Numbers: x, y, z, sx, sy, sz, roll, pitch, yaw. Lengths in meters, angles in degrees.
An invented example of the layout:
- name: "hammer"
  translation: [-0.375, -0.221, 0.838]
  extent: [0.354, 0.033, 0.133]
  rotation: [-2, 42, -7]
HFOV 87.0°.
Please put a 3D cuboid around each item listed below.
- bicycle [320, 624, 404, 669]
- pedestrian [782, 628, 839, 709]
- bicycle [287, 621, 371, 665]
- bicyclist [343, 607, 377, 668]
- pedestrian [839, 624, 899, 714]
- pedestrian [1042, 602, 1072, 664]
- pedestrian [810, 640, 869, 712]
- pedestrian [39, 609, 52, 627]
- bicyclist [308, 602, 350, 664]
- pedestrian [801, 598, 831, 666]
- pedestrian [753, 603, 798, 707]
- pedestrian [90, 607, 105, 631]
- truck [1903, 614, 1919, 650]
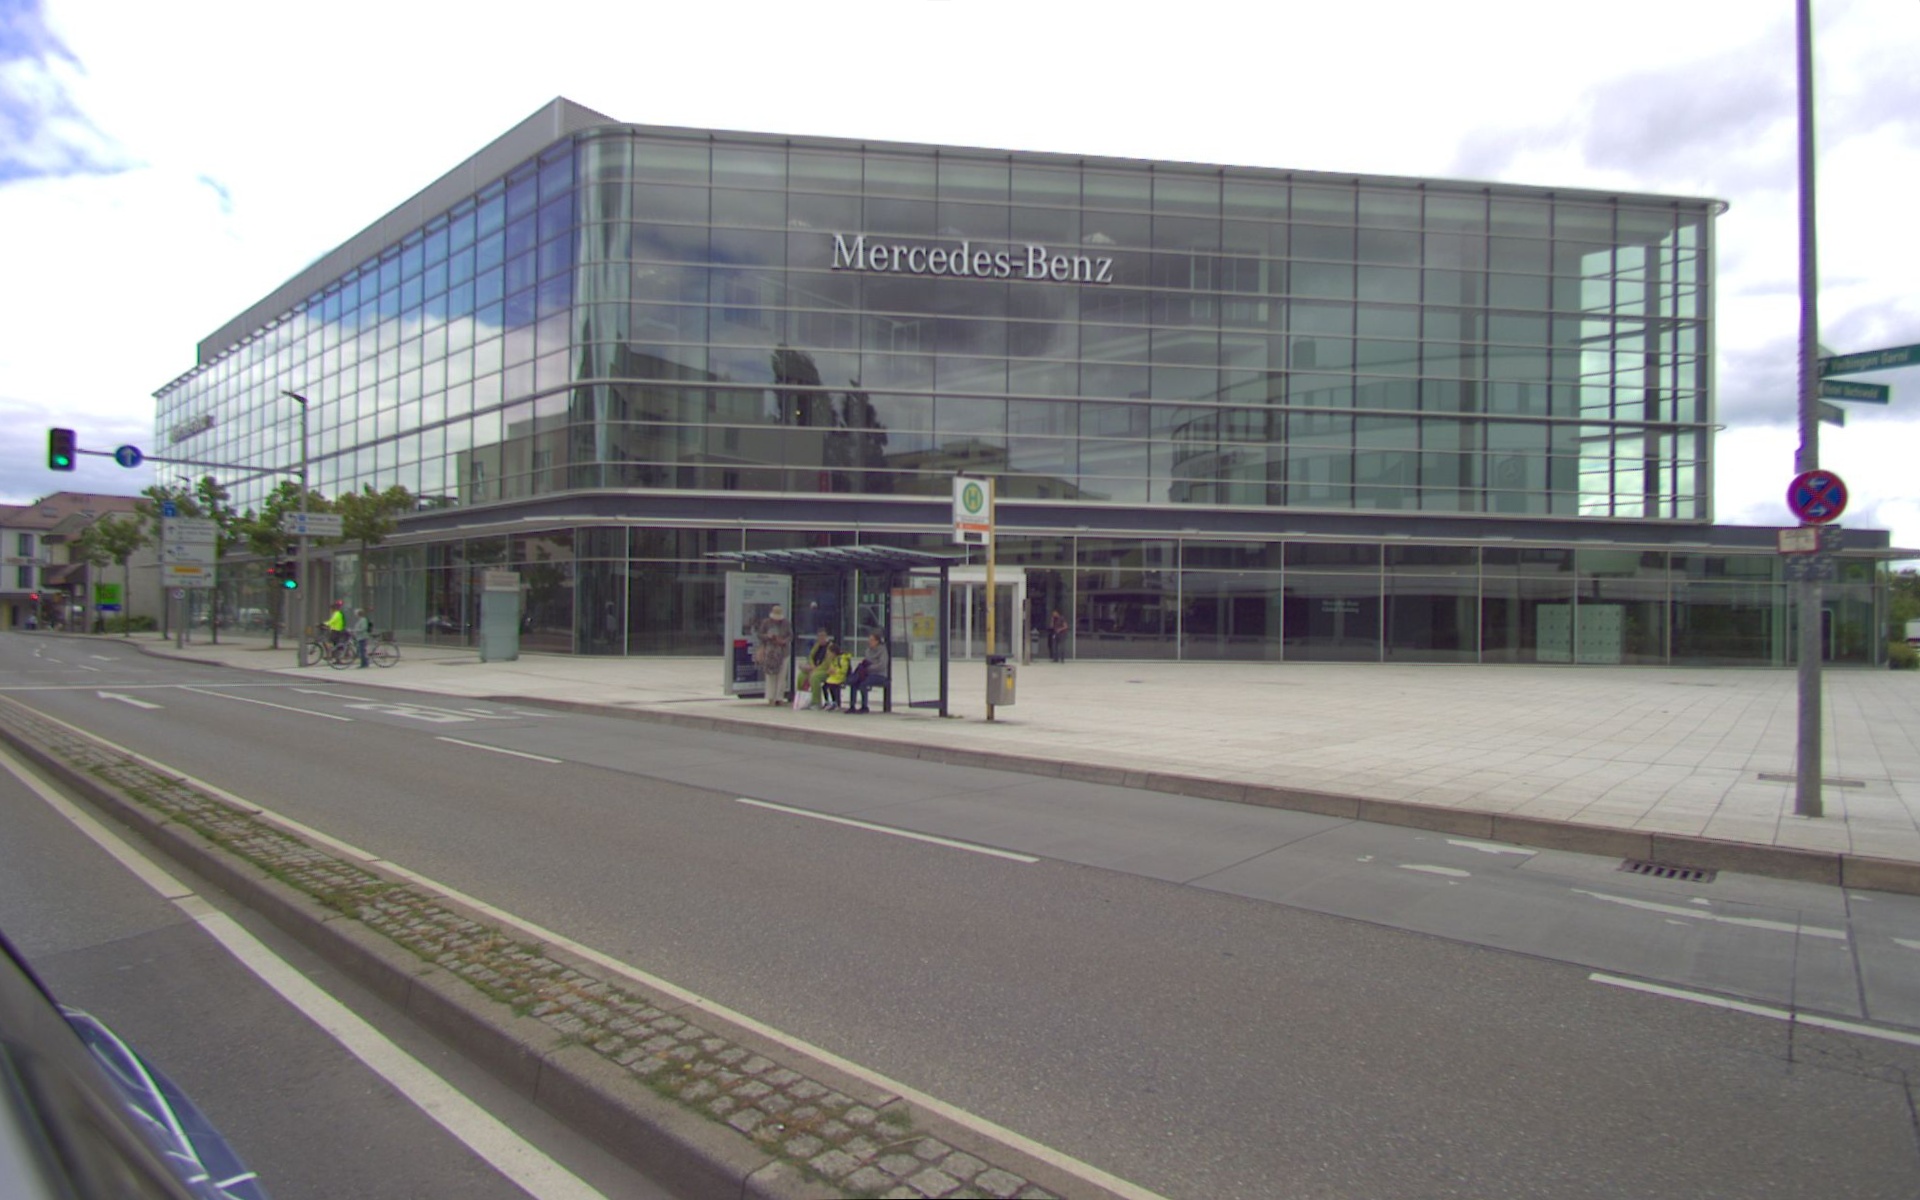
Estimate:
- name: "bicycle"
  translation: [-16.755, 1.289, 28.393]
  extent: [1.973, 1.139, 0.640]
  rotation: [-2, 1, -34]
- name: "pedestrian"
  translation: [-2.394, 1.083, 16.222]
  extent: [0.576, 1.263, 0.677]
  rotation: [0, -2, 40]
- name: "bicycle"
  translation: [-18.934, 1.284, 30.406]
  extent: [2.000, 1.215, 0.748]
  rotation: [-1, 1, -4]
- name: "bicyclist"
  translation: [-16.809, 1.039, 28.352]
  extent: [0.771, 1.661, 0.640]
  rotation: [-2, 1, -34]
- name: "pedestrian"
  translation: [-1.384, 1.040, 15.443]
  extent: [0.576, 1.330, 0.677]
  rotation: [0, -3, 40]
- name: "pedestrian"
  translation: [3.114, 1.039, 32.349]
  extent: [0.747, 1.960, 0.680]
  rotation: [0, 0, 28]
- name: "pedestrian"
  translation: [-1.889, 1.175, 15.883]
  extent: [0.576, 1.084, 0.677]
  rotation: [0, -3, 40]
- name: "pedestrian"
  translation: [-79.372, 1.574, 87.829]
  extent: [0.577, 1.527, 0.552]
  rotation: [0, -1, 9]
- name: "bicyclist"
  translation: [-18.940, 0.977, 30.396]
  extent: [0.762, 1.813, 0.748]
  rotation: [-1, 1, -5]
- name: "pedestrian"
  translation: [-4.242, 0.936, 29.838]
  extent: [0.740, 1.960, 0.902]
  rotation: [0, 0, 2]
- name: "pedestrian"
  translation: [-3.000, 0.887, 16.486]
  extent: [0.568, 1.643, 0.686]
  rotation: [1, -2, 0]
- name: "pedestrian"
  translation: [-58.613, 1.299, 68.765]
  extent: [0.693, 1.636, 0.693]
  rotation: [-1, -2, 41]
- name: "truck"
  translation: [68.972, 2.226, 71.695]
  extent: [2.385, 2.299, 6.358]
  rotation: [0, 1, 36]
